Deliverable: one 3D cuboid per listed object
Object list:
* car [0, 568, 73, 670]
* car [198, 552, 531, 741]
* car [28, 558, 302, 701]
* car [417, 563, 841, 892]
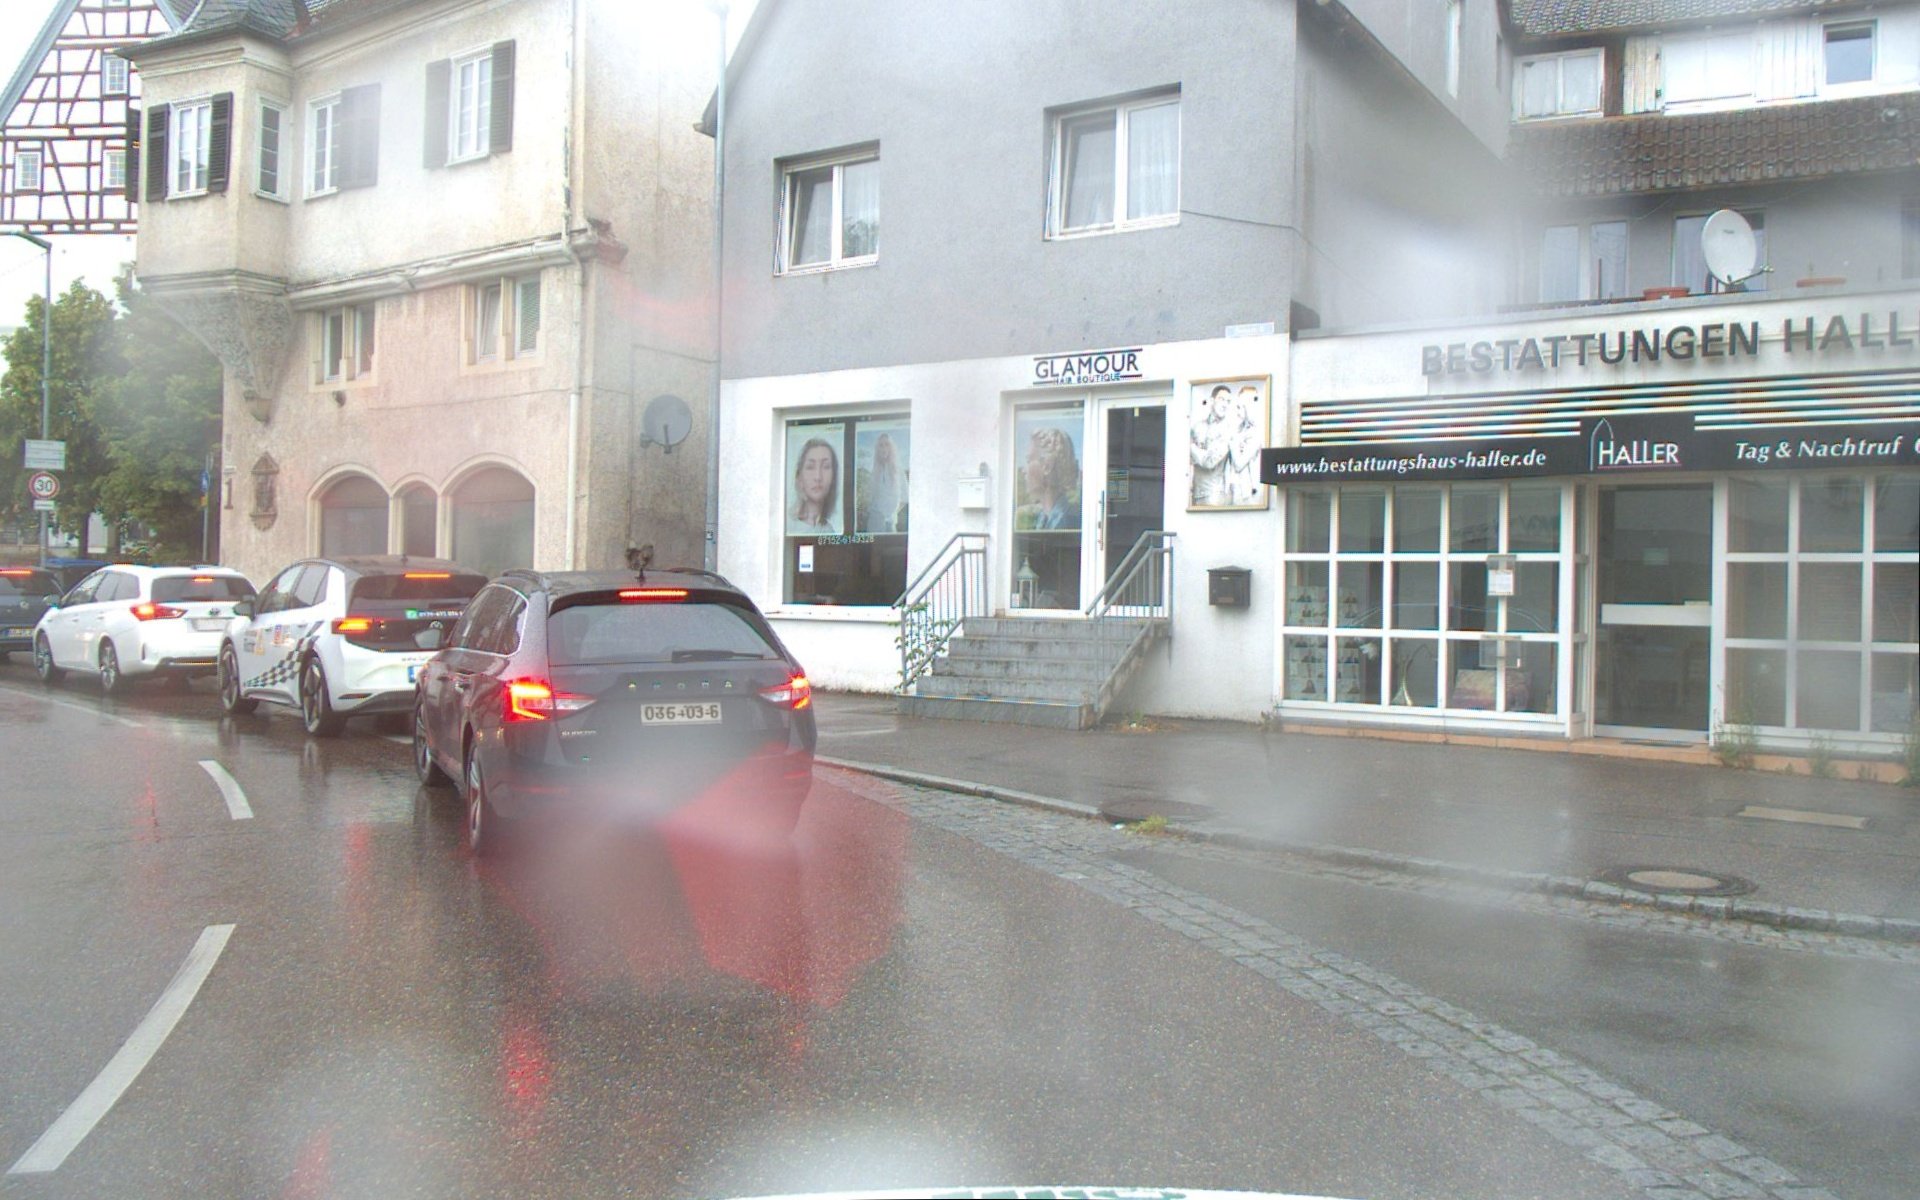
[{"bbox_3d":[-14.890,0.237,24.952,3.701,1.385,1.514,2,3,42],"label":"car"},{"bbox_3d":[-5.786,0.341,15.775,1.777,1.543,4.183,-1,2,-38],"label":"car"},{"bbox_3d":[-9.724,0.271,20.090,1.778,1.490,4.096,-2,3,-45],"label":"car"},{"bbox_3d":[-2.196,0.540,9.942,1.709,1.475,4.212,0,2,-23],"label":"car"}]
